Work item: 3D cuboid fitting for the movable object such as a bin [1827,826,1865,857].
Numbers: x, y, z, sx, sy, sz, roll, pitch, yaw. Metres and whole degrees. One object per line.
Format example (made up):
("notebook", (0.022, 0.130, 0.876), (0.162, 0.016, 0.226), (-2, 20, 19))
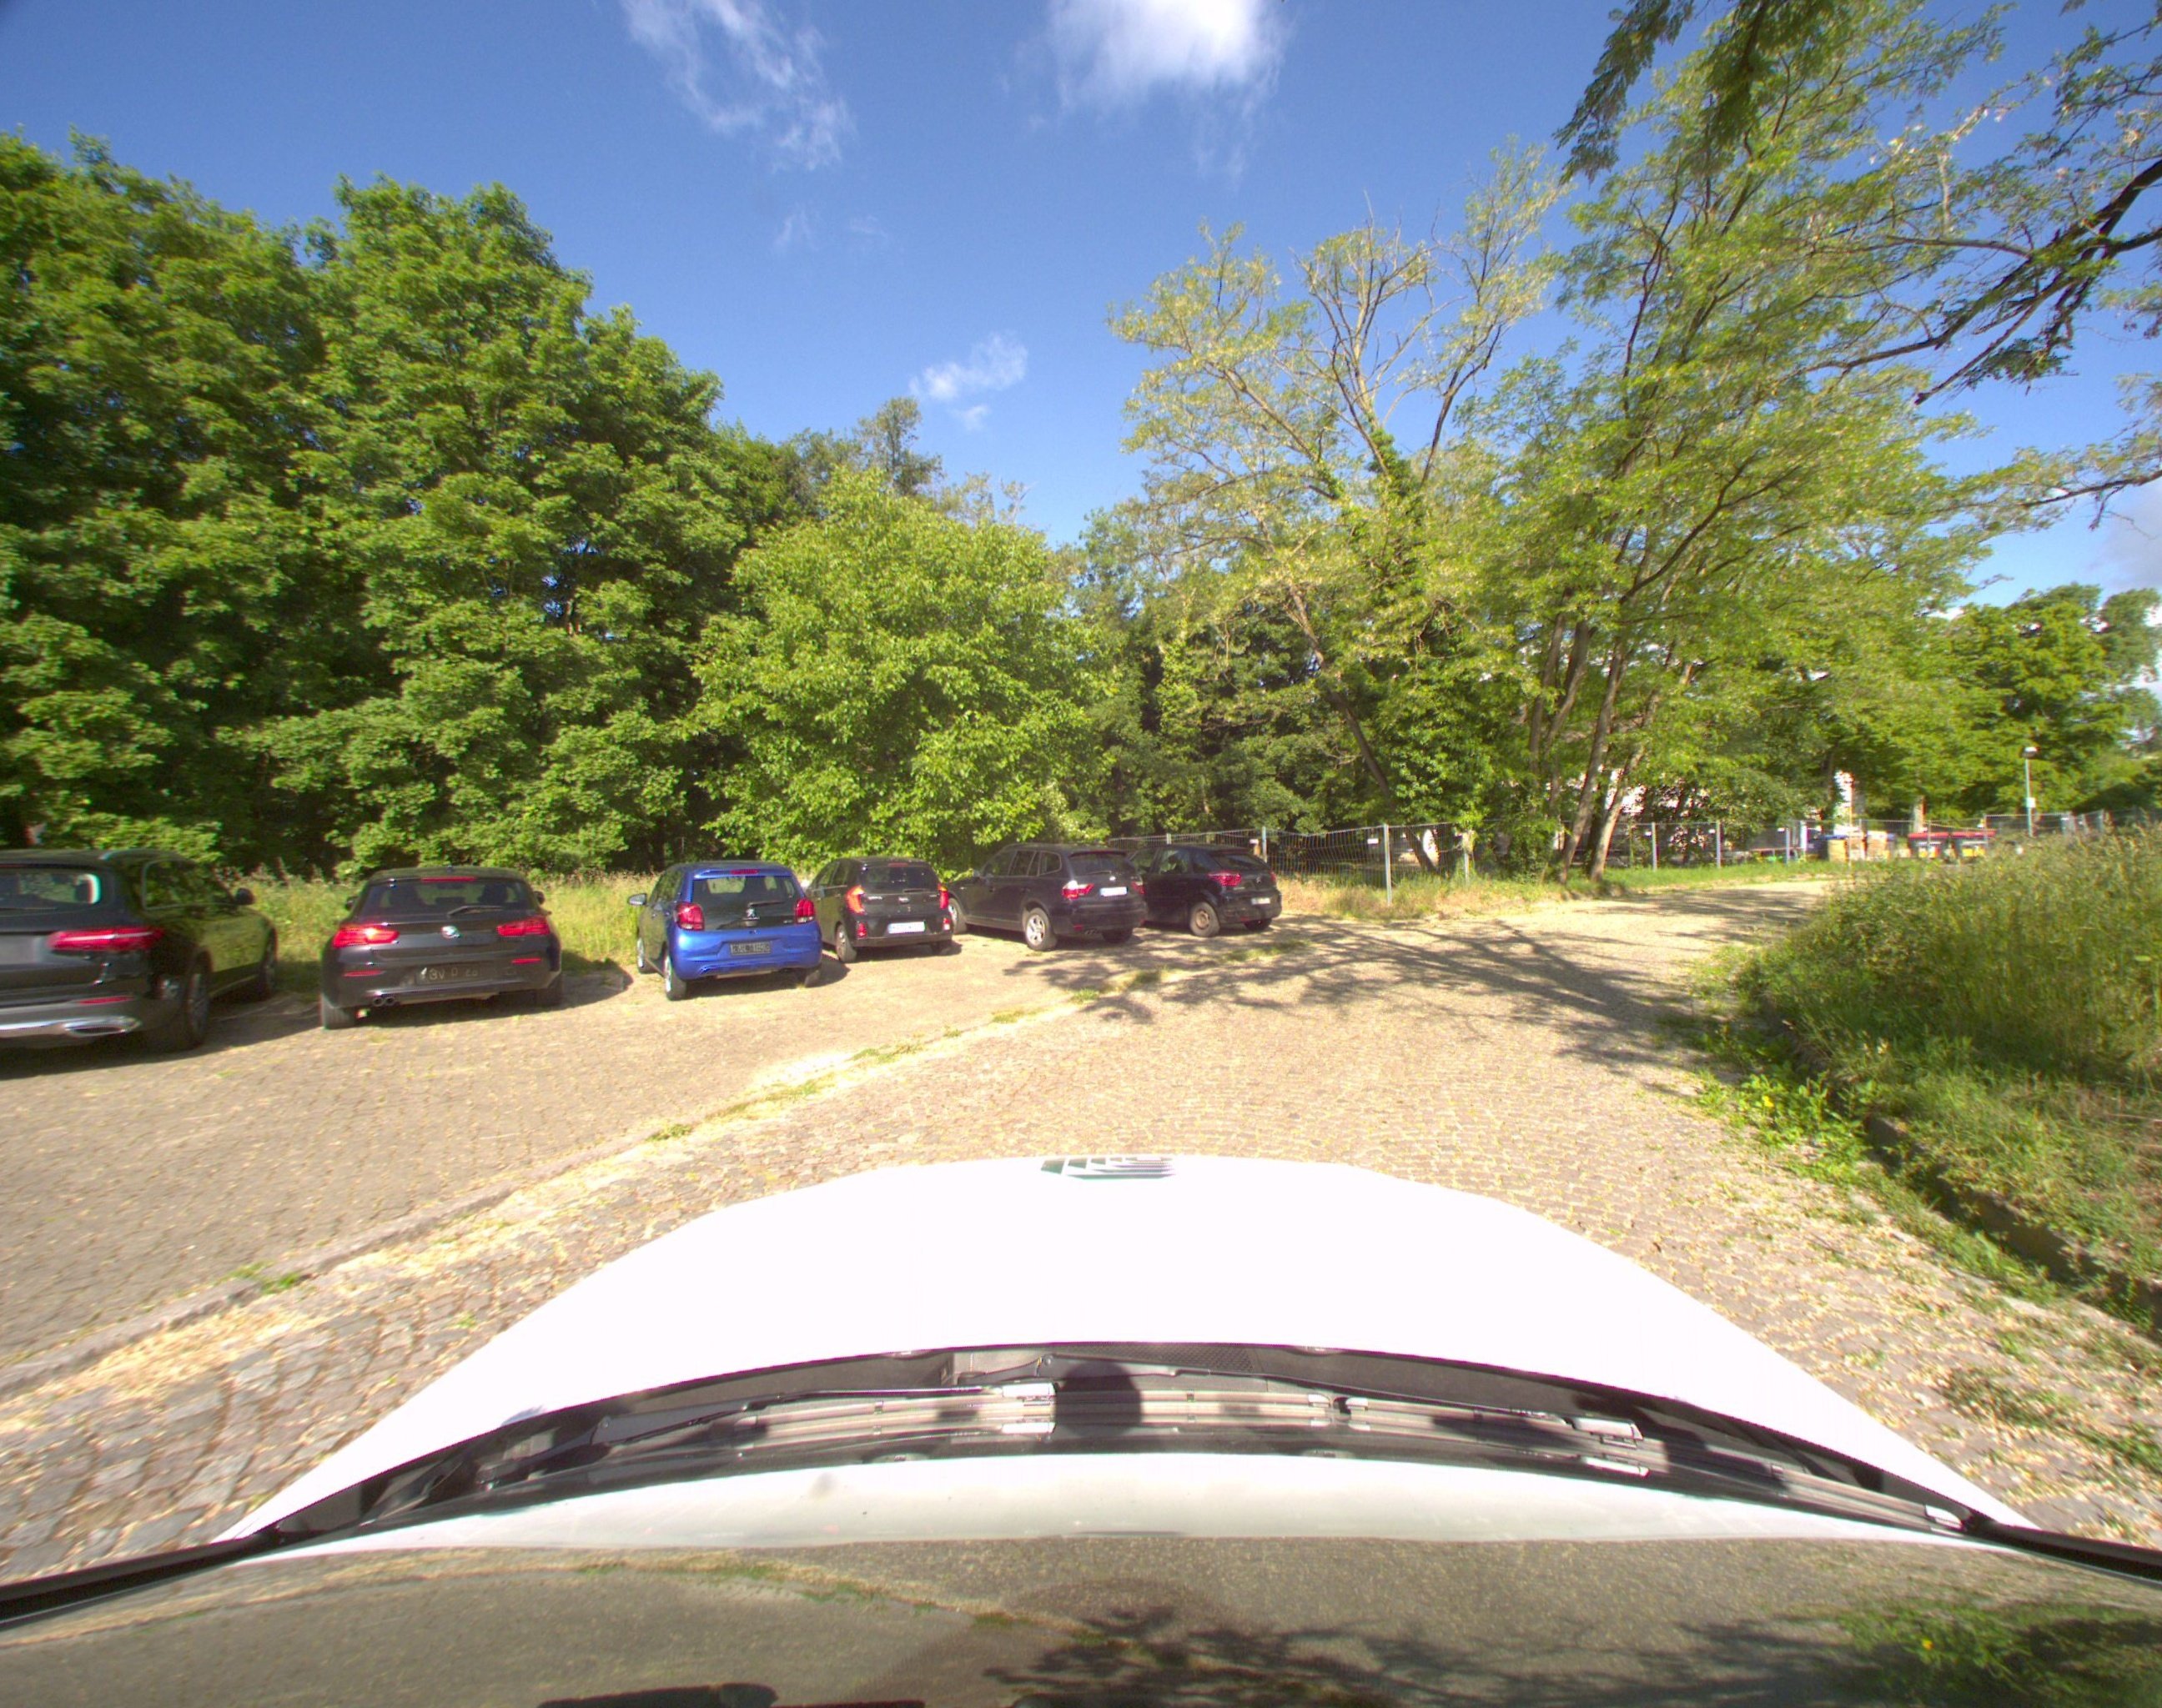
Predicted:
("movable object such as a bin", (36.430, -0.583, 38.771), (1.060, 1.438, 1.075), (-1, -1, -35))

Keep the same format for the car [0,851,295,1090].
("car", (-8.523, 0.779, 7.026), (1.979, 1.589, 4.085), (-1, 0, -37))

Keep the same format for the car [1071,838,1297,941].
("car", (1.873, 0.560, 15.906), (1.840, 1.589, 4.223), (-2, 4, -41))

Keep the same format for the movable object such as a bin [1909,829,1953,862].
("movable object such as a bin", (38.243, -0.365, 36.633), (1.038, 1.426, 1.276), (-1, -1, -40))

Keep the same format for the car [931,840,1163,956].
("car", (-0.736, 0.608, 14.110), (1.890, 1.631, 4.225), (-1, 2, -39))

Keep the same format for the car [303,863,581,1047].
("car", (-6.603, 0.837, 8.627), (1.904, 1.411, 3.748), (-1, 0, -37))

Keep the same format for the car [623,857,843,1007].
("car", (-4.524, 0.790, 10.275), (1.793, 1.458, 3.749), (-1, 1, -36))

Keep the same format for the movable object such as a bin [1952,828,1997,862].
("movable object such as a bin", (39.087, -0.371, 35.621), (1.038, 1.426, 1.276), (-1, -1, -41))

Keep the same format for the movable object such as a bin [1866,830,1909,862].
("movable object such as a bin", (37.406, -0.371, 37.757), (1.038, 1.426, 1.276), (-1, -1, -40))

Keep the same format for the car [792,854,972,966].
("car", (-3.272, 0.744, 12.875), (1.750, 1.451, 3.688), (-1, 1, -31))
